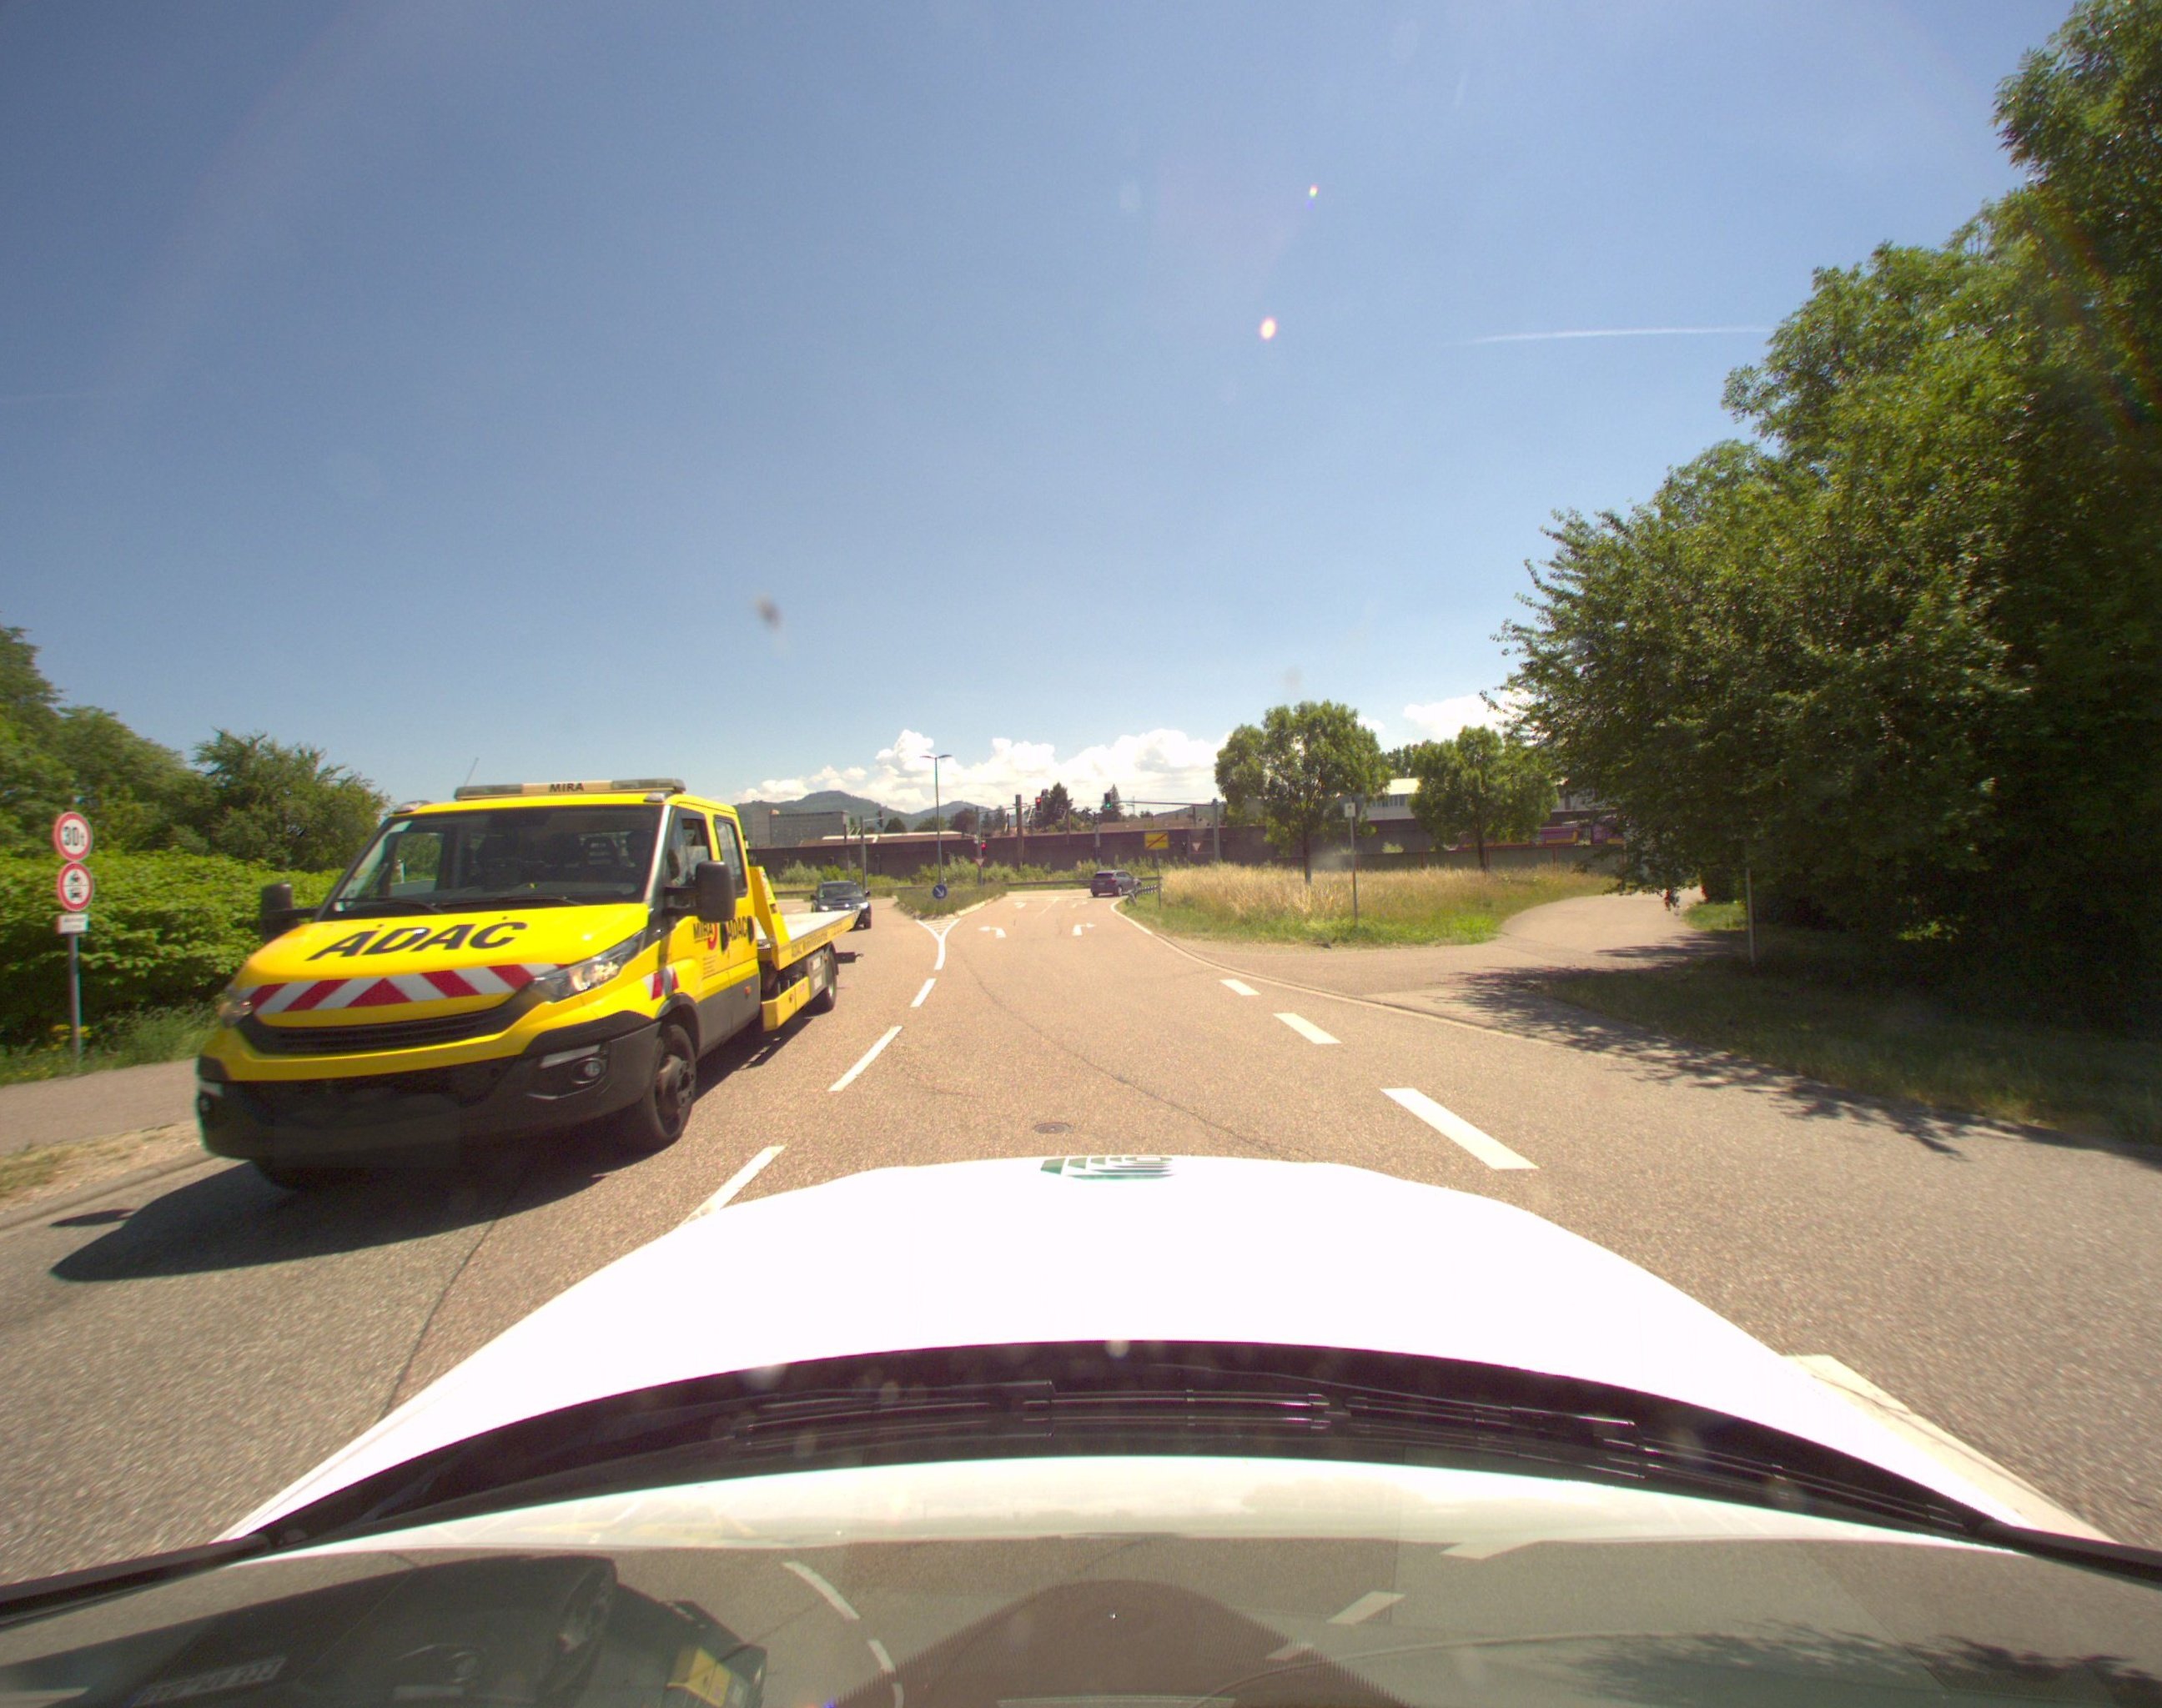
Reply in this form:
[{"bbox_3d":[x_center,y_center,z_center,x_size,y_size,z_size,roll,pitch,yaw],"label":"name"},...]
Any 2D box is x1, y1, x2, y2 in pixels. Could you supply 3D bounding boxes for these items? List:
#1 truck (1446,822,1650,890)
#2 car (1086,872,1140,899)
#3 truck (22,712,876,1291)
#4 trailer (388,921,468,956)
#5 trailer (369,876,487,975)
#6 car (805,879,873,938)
[{"bbox_3d":[31.444,0.197,55.335,11.701,4.181,3.012,-1,-2,8],"label":"truck"},{"bbox_3d":[2.002,1.912,49.921,1.976,1.503,4.022,-1,0,23],"label":"car"},{"bbox_3d":[-3.839,0.730,8.063,2.309,2.338,9.026,-4,-1,-7],"label":"truck"},{"bbox_3d":[-18.266,2.331,22.887,1.572,0.739,2.821,0,-2,-35],"label":"trailer"},{"bbox_3d":[-14.999,1.546,18.899,1.864,2.014,3.916,0,-2,-35],"label":"trailer"},{"bbox_3d":[-8.387,1.782,28.016,1.909,1.702,3.972,-2,0,-21],"label":"car"}]
